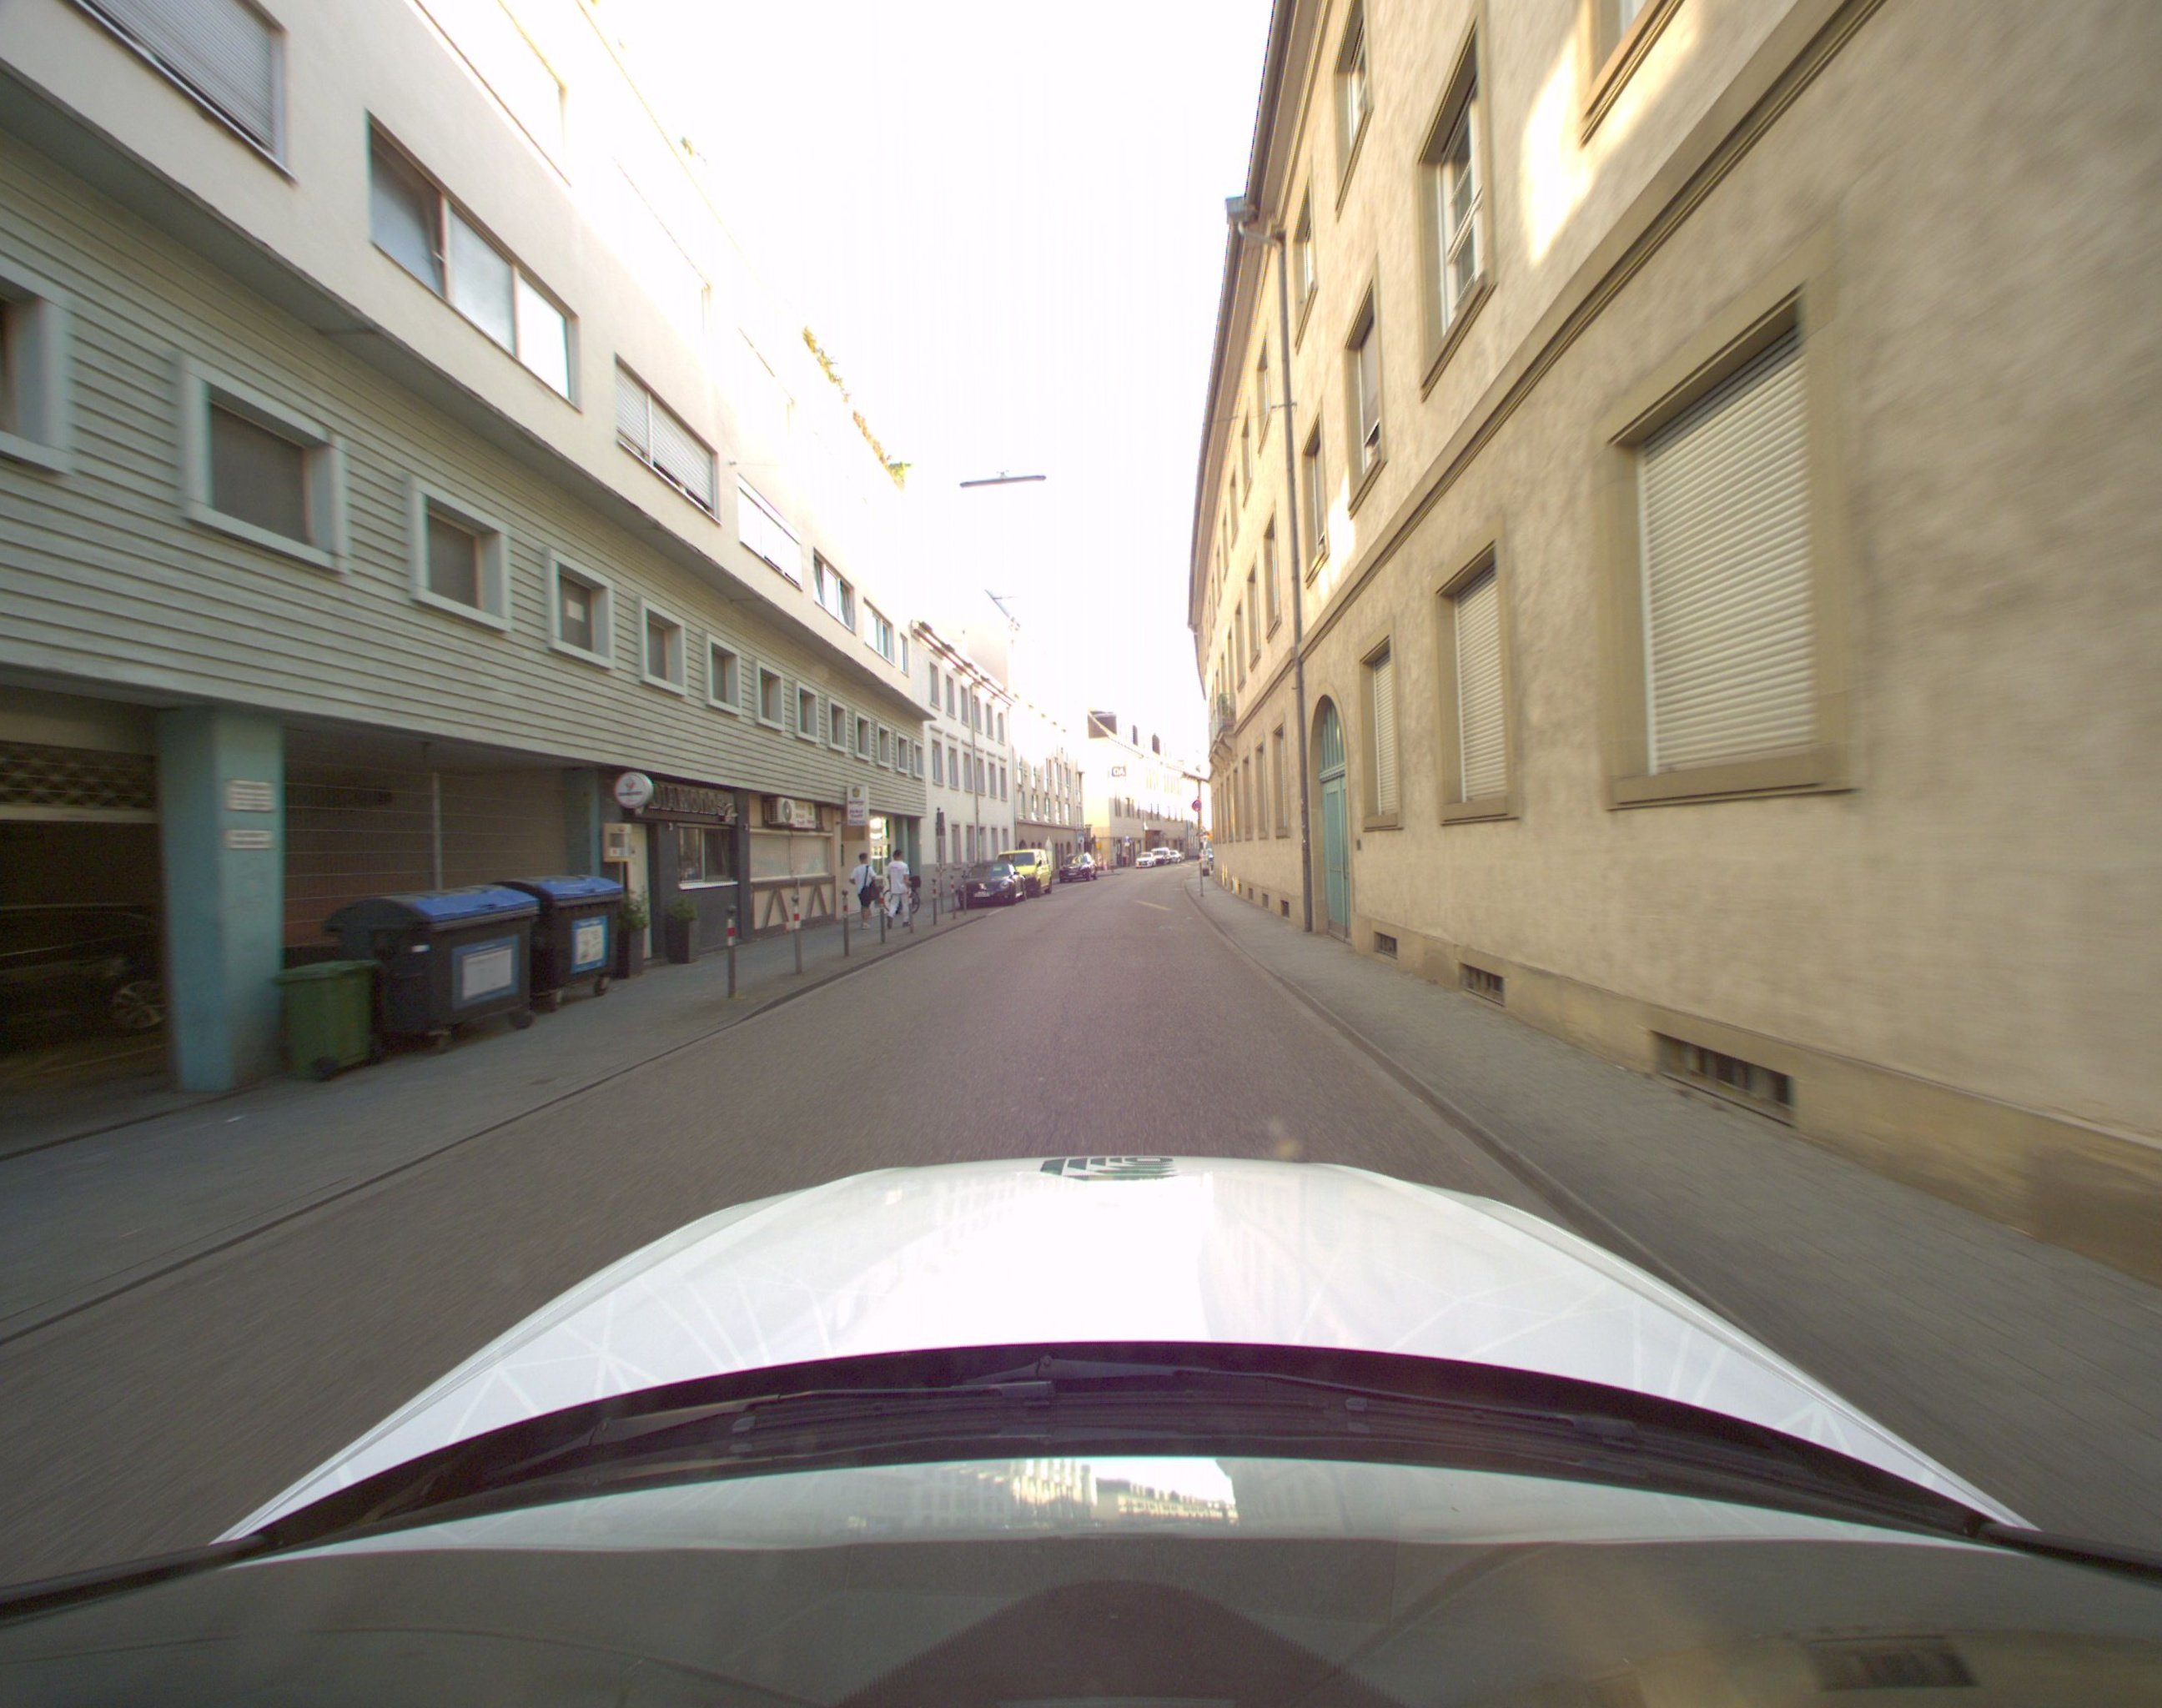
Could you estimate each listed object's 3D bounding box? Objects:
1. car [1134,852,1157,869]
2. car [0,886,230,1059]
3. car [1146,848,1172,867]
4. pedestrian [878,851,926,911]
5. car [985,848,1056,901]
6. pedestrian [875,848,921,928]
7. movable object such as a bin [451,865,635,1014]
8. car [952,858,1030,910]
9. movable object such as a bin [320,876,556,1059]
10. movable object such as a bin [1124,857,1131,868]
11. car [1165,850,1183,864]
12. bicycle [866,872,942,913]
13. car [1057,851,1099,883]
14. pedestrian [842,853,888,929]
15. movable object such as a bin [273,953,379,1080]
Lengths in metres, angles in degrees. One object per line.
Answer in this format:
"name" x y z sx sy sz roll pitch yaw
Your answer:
"car" 6.370 0.599 79.632 1.659 1.507 3.806 -4 0 12
"car" -11.019 1.177 7.301 1.755 1.535 4.605 -2 0 3
"car" 8.201 0.330 85.269 1.657 1.818 4.572 -4 0 17
"pedestrian" -5.317 0.805 24.204 1.067 1.728 0.807 -2 0 27
"car" -2.362 0.753 33.220 1.870 1.866 4.872 -5 0 6
"pedestrian" -4.145 0.754 18.502 0.695 1.734 0.830 -3 0 4
"movable object such as a bin" -6.132 0.928 9.393 1.118 1.520 1.343 -2 1 2
"car" -2.975 0.948 27.773 1.811 1.486 4.081 -5 0 4
"movable object such as a bin" -6.038 1.006 7.783 0.964 1.471 1.476 -2 1 2
"movable object such as a bin" 4.602 0.866 81.152 0.605 1.060 0.715 0 0 8
"car" 10.376 0.321 91.167 1.261 1.507 3.418 -4 0 18
"bicycle" -5.275 1.145 24.187 2.108 1.163 0.828 -2 0 27
"car" -0.137 0.743 49.557 1.729 1.711 4.202 -5 0 10
"pedestrian" -4.911 0.819 18.590 0.669 1.669 0.896 -3 0 4
"movable object such as a bin" -6.250 1.334 6.757 0.391 0.942 0.467 -2 0 2
